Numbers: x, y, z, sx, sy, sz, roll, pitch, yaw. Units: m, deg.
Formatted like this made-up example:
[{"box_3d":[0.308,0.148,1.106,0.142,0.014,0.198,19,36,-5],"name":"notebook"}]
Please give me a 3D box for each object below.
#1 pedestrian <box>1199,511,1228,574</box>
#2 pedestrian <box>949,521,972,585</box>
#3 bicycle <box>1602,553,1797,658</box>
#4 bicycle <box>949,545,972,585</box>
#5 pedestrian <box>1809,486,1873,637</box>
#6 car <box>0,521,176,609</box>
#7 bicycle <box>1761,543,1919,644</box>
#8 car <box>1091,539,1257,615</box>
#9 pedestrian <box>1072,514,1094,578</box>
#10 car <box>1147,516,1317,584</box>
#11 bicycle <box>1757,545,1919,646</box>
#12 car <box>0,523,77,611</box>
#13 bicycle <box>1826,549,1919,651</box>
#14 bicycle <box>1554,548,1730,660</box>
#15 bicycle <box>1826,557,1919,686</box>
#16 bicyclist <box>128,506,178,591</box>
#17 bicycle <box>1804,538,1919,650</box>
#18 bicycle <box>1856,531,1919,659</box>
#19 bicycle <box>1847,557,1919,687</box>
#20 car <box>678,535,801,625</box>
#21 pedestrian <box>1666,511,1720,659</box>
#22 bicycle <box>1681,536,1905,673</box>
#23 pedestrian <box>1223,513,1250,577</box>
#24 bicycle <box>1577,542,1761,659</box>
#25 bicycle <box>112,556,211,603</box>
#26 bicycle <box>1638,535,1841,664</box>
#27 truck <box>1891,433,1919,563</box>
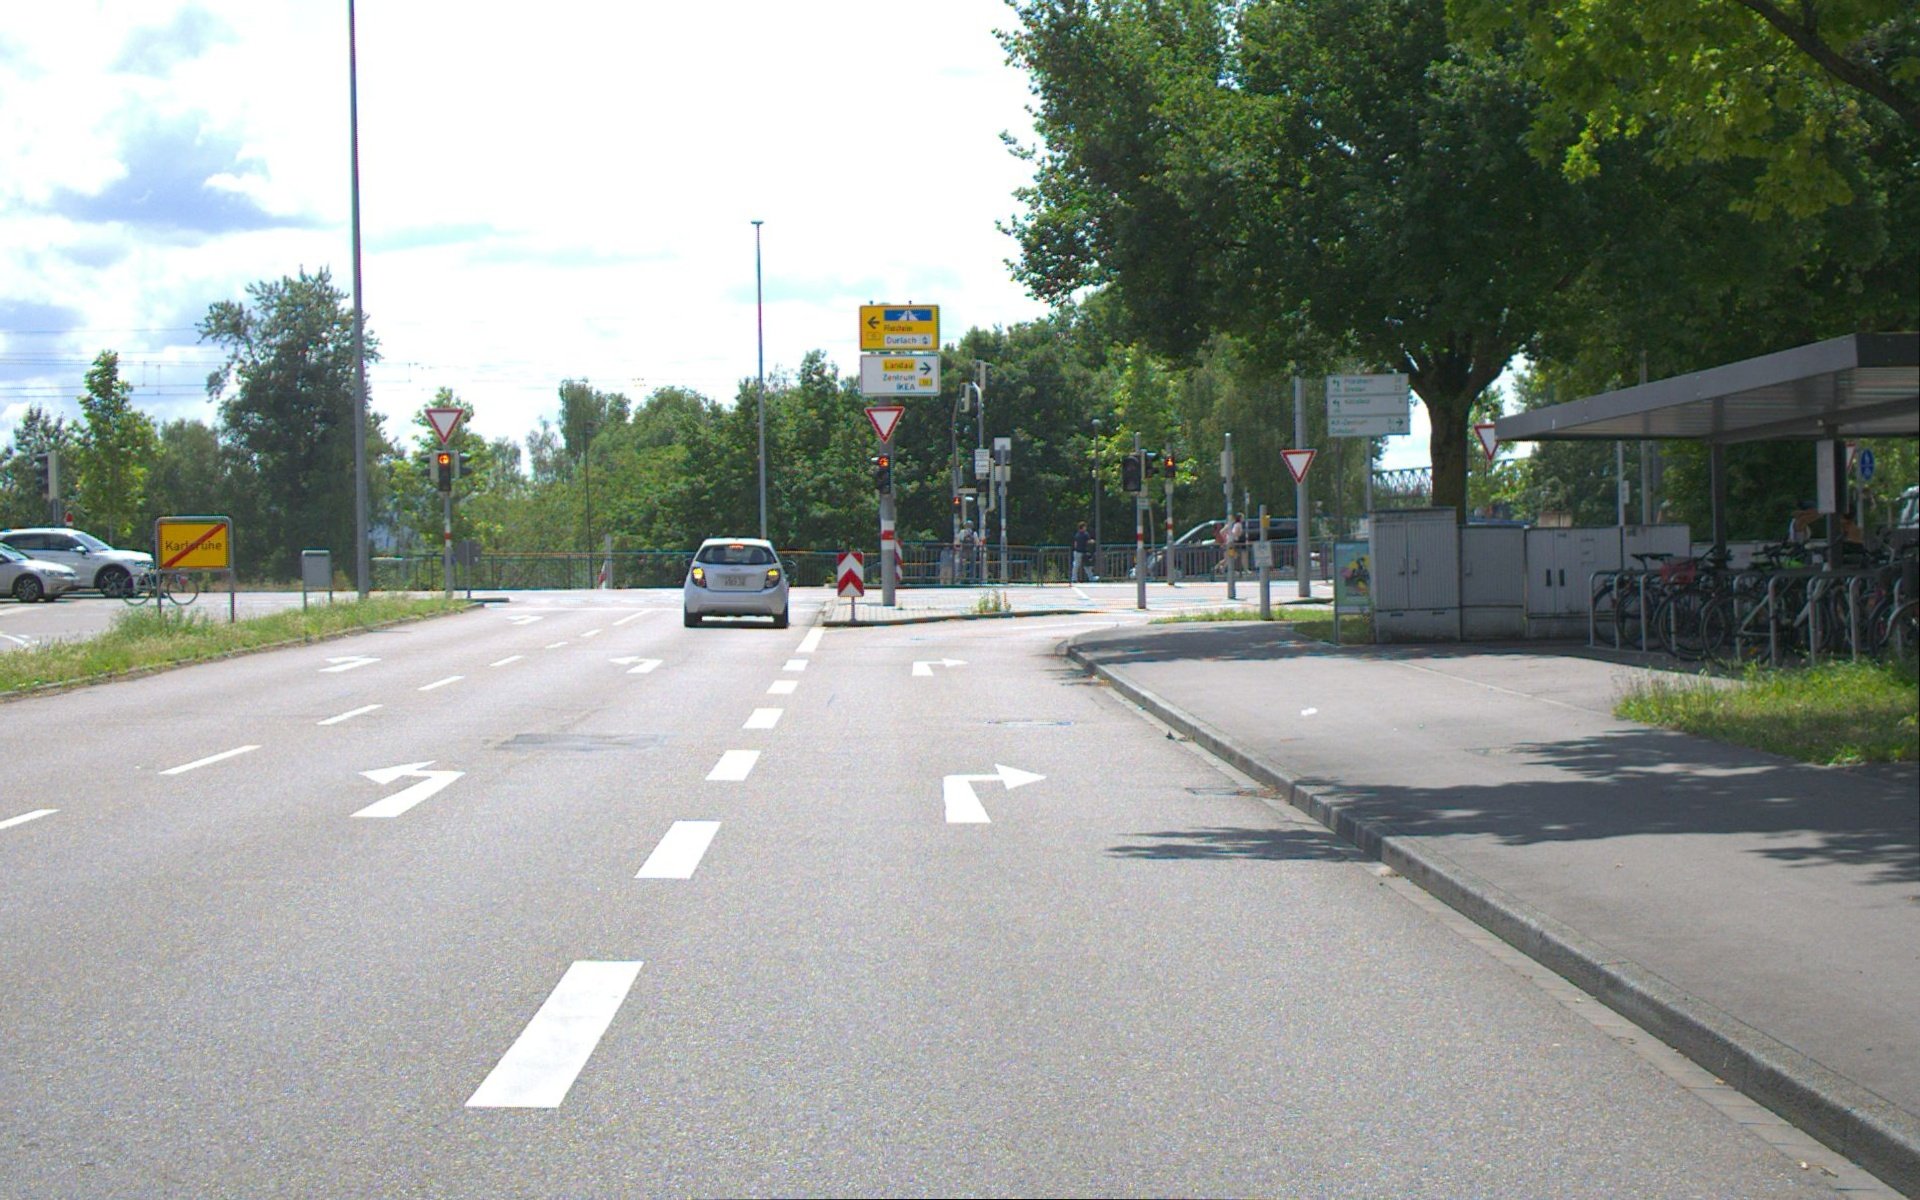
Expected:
[{"box_3d":[7.040,-1.596,95.466,0.706,1.715,0.601,-2,1,1],"name":"pedestrian"},{"box_3d":[0.017,-1.324,95.783,0.611,1.763,0.672,-1,1,0],"name":"pedestrian"},{"box_3d":[7.519,0.051,34.971,1.861,0.991,0.424,-2,1,-5],"name":"bicycle"},{"box_3d":[0.020,-0.970,95.823,0.619,1.084,1.722,-1,1,1],"name":"bicycle"},{"box_3d":[9.811,-0.428,38.284,0.544,1.656,0.478,-1,1,-2],"name":"pedestrian"},{"box_3d":[-21.137,-0.835,82.080,4.348,1.982,2.000,-2,1,-2],"name":"car"},{"box_3d":[9.419,-0.076,36.153,1.861,0.991,0.424,-2,1,-5],"name":"bicycle"},{"box_3d":[5.460,-0.598,87.952,3.986,1.776,1.910,-2,1,-3],"name":"car"},{"box_3d":[3.347,-1.472,93.569,0.523,1.715,0.730,-2,1,3],"name":"pedestrian"},{"box_3d":[7.808,-1.443,99.099,4.651,1.814,2.000,-2,1,-1],"name":"car"},{"box_3d":[9.668,-0.055,37.412,1.862,1.030,0.424,-2,1,1],"name":"bicycle"},{"box_3d":[-22.784,-0.725,79.191,4.348,1.982,2.000,-2,1,-2],"name":"car"},{"box_3d":[9.779,-0.015,34.850,1.861,0.991,0.424,-2,-1,-5],"name":"bicycle"},{"box_3d":[7.627,0.037,38.476,1.861,1.183,0.424,-2,1,-5],"name":"bicycle"},{"box_3d":[8.022,0.137,27.881,1.861,0.991,0.424,-3,1,-5],"name":"bicycle"},{"box_3d":[-17.588,-1.124,74.911,0.921,1.840,0.611,-1,1,-1],"name":"bicyclist"},{"box_3d":[9.709,-0.076,35.498,1.861,1.112,0.424,-2,0,-6],"name":"bicycle"},{"box_3d":[9.760,-0.077,33.623,1.861,1.227,0.424,-2,1,-5],"name":"bicycle"},{"box_3d":[8.065,0.139,27.392,1.861,0.991,0.424,-3,1,-5],"name":"bicycle"},{"box_3d":[-3.743,-0.363,58.950,1.894,1.465,3.834,1,1,-1],"name":"car"},{"box_3d":[8.356,-0.171,39.210,0.544,1.657,0.546,-1,0,10],"name":"pedestrian"},{"box_3d":[7.578,0.035,31.312,1.896,1.166,0.424,-2,1,1],"name":"bicycle"},{"box_3d":[7.627,-1.515,94.770,0.676,1.742,0.637,-1,2,1],"name":"pedestrian"},{"box_3d":[7.661,-0.002,37.157,1.861,1.183,0.424,-2,1,-5],"name":"bicycle"},{"box_3d":[-17.404,-0.443,74.941,2.017,0.996,0.622,1,1,-1],"name":"bicycle"},{"box_3d":[7.602,-0.009,33.540,1.861,1.183,0.424,-2,1,-5],"name":"bicycle"},{"box_3d":[36.129,-3.345,109.791,11.957,4.090,2.952,-1,1,-1],"name":"truck"}]
